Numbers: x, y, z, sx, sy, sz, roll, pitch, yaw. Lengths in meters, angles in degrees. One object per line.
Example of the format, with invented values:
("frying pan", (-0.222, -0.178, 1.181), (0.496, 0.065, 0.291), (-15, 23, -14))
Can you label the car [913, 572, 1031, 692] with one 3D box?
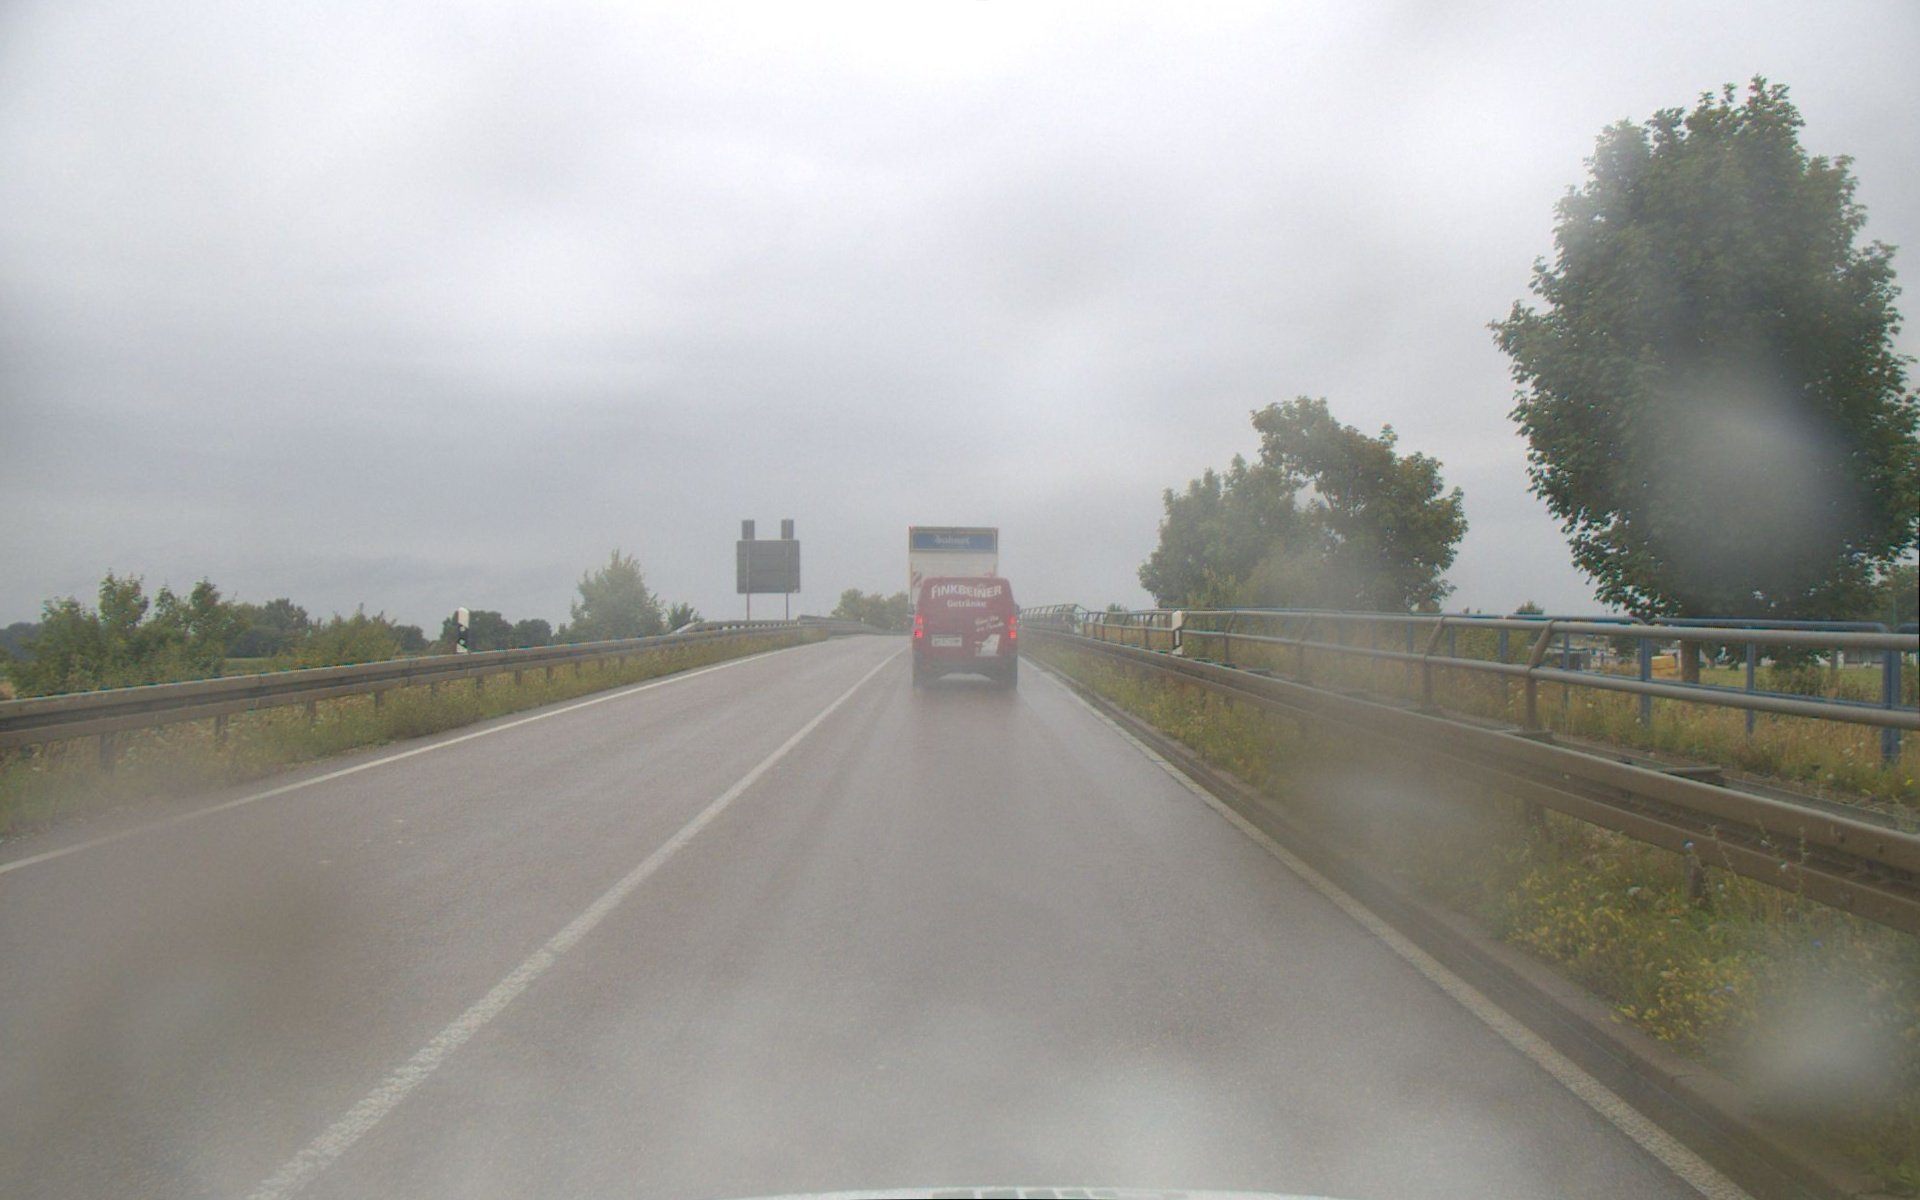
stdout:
("car", (0.167, 0.545, 29.717), (1.953, 1.959, 4.142), (1, 0, -1))

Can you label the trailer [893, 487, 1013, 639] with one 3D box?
("trailer", (-0.089, -0.916, 49.809), (3.135, 3.990, 8.739), (3, -2, 1))
